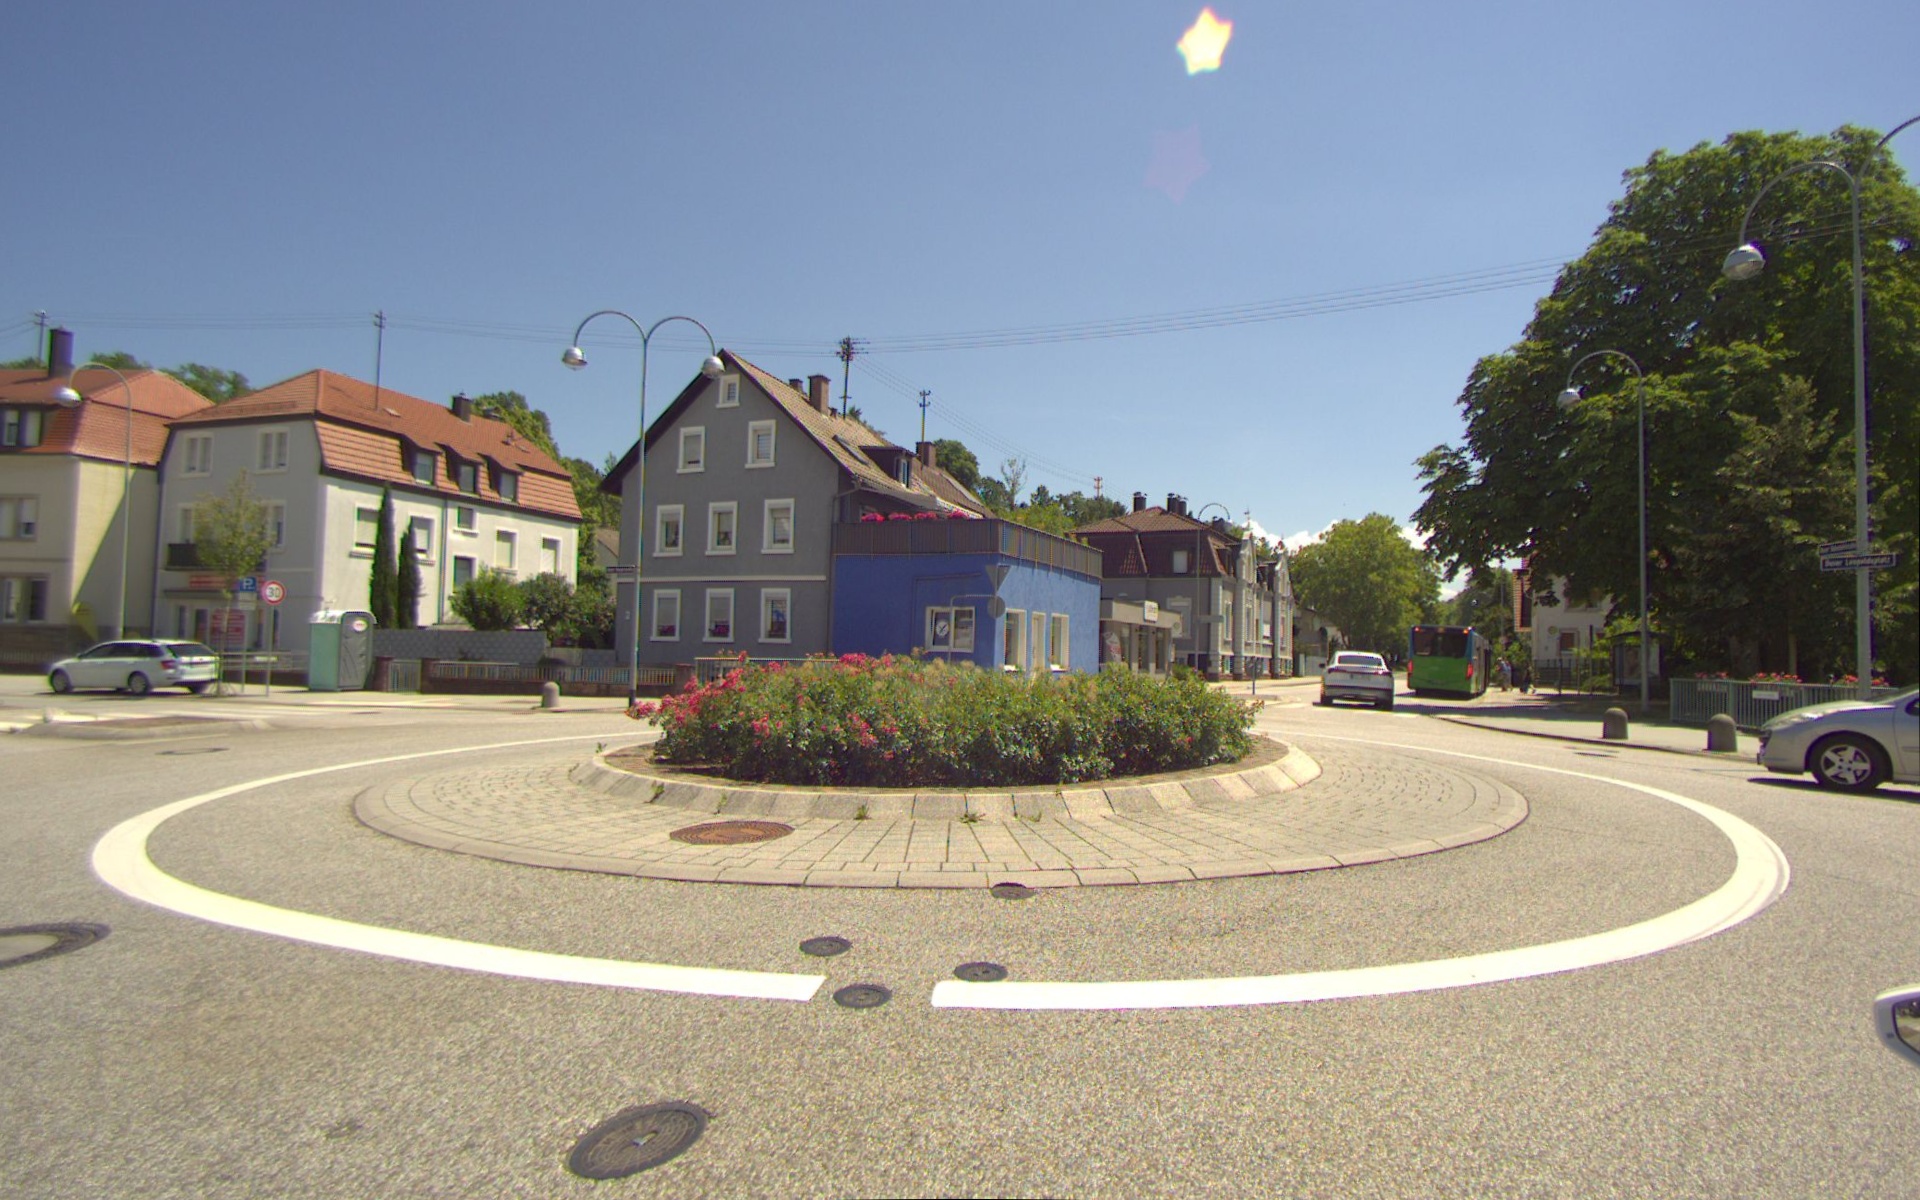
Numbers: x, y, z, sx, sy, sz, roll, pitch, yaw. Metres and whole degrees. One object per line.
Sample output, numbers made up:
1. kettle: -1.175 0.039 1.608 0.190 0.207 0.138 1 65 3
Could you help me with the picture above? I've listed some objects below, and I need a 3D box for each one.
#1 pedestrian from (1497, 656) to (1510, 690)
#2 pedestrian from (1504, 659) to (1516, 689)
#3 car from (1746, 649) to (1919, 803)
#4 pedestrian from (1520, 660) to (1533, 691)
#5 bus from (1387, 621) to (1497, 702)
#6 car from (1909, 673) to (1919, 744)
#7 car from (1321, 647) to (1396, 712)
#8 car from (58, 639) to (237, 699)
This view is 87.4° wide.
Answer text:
1. pedestrian: 27.479 3.697 50.778 0.494 1.672 0.579 0 -2 23
2. pedestrian: 28.106 3.778 51.346 0.481 1.542 0.542 0 -2 23
3. car: 10.753 1.301 10.252 4.150 1.536 1.736 -2 -4 44
4. pedestrian: 27.096 3.620 48.047 0.481 1.473 0.530 0 -2 23
5. bus: 24.349 3.086 49.980 3.652 3.212 18.042 2 -3 30
6. car: 22.600 2.381 21.411 2.997 1.573 1.635 0 -3 15
7. car: 11.977 2.310 30.110 1.868 1.683 4.408 3 -2 23
8. car: -22.117 1.844 27.379 3.996 1.410 1.610 1 0 12
